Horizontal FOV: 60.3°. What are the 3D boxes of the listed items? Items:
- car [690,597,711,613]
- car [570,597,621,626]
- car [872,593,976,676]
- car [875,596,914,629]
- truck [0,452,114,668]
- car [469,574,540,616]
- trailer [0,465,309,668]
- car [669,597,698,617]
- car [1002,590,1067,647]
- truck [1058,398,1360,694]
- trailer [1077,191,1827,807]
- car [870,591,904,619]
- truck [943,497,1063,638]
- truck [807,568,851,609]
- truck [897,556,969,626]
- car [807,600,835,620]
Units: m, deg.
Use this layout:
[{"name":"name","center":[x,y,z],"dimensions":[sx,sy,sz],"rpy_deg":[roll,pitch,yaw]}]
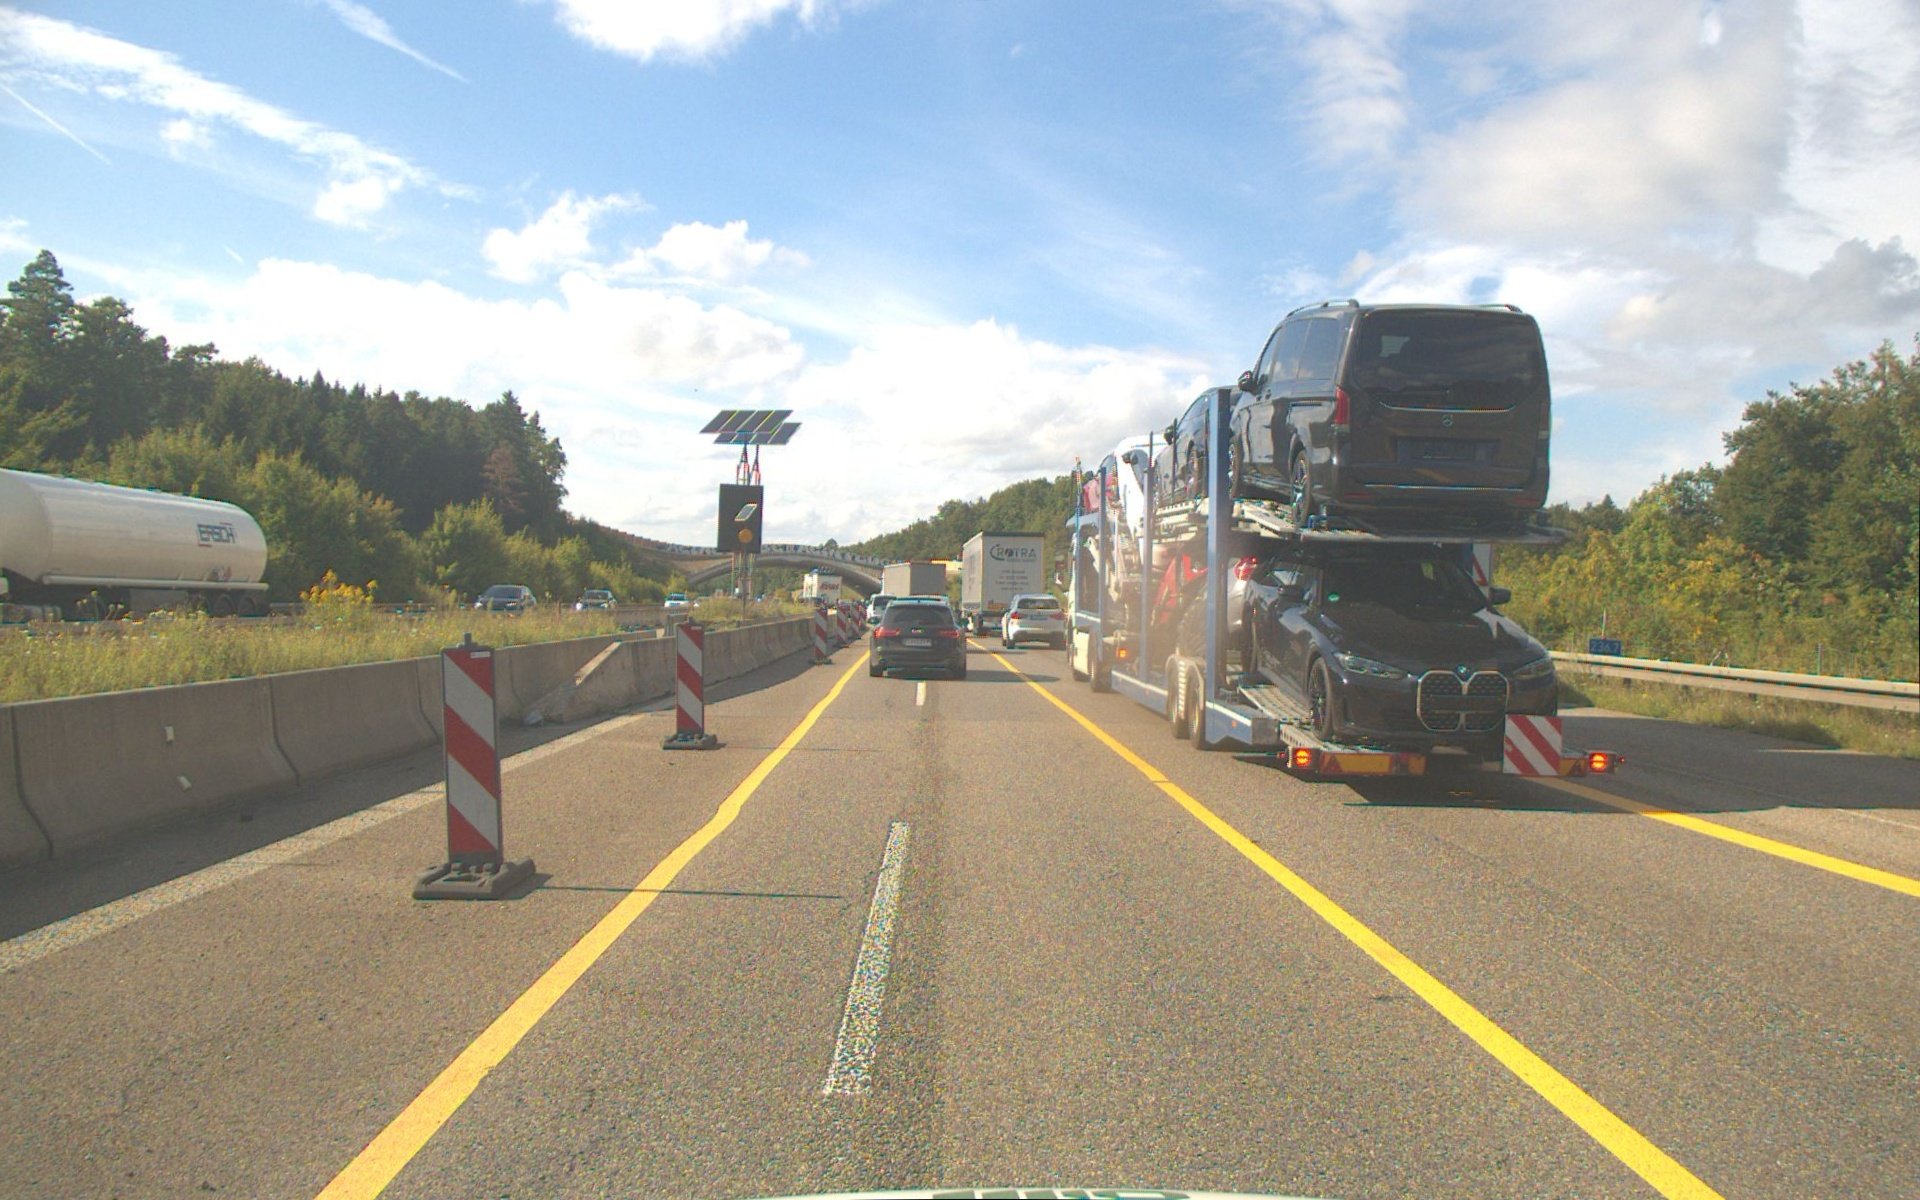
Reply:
[{"name":"car","center":[-26.254,0.514,167.386],"dimensions":[1.743,1.630,4.672],"rpy_deg":[1,0,-4]},{"name":"car","center":[-20.594,0.639,93.625],"dimensions":[1.919,1.616,4.481],"rpy_deg":[1,0,-1]},{"name":"car","center":[-0.650,0.629,31.976],"dimensions":[1.851,1.472,4.000],"rpy_deg":[1,0,0]},{"name":"car","center":[-3.562,0.663,89.726],"dimensions":[1.854,1.672,4.013],"rpy_deg":[1,0,-6]},{"name":"truck","center":[-17.176,-0.682,28.336],"dimensions":[2.728,3.551,4.939],"rpy_deg":[1,0,0]},{"name":"car","center":[-18.628,-0.200,67.808],"dimensions":[1.741,1.630,4.017],"rpy_deg":[1,0,0]},{"name":"trailer","center":[-17.210,-0.597,34.640],"dimensions":[2.744,3.550,11.111],"rpy_deg":[1,0,0]},{"name":"car","center":[-23.556,0.597,140.794],"dimensions":[1.741,1.630,4.017],"rpy_deg":[1,0,0]},{"name":"car","center":[2.307,0.557,51.968],"dimensions":[1.851,1.672,4.017],"rpy_deg":[1,0,0]},{"name":"truck","center":[3.890,-0.781,28.207],"dimensions":[3.685,4.270,7.948],"rpy_deg":[1,0,-2]},{"name":"trailer","center":[4.073,-0.690,19.796],"dimensions":[3.651,4.269,16.221],"rpy_deg":[1,0,-2]},{"name":"car","center":[-4.613,0.288,103.943],"dimensions":[1.854,1.672,4.013],"rpy_deg":[1,0,-6]},{"name":"truck","center":[1.595,-1.250,72.843],"dimensions":[3.605,5.447,16.186],"rpy_deg":[1,0,-4]},{"name":"truck","center":[-13.750,-1.176,172.871],"dimensions":[3.587,3.997,11.041],"rpy_deg":[1,0,-10]},{"name":"truck","center":[-2.051,-0.632,118.233],"dimensions":[4.235,4.681,11.112],"rpy_deg":[1,0,-5]},{"name":"car","center":[-11.978,0.836,142.615],"dimensions":[1.748,1.630,4.003],"rpy_deg":[1,0,-14]}]
